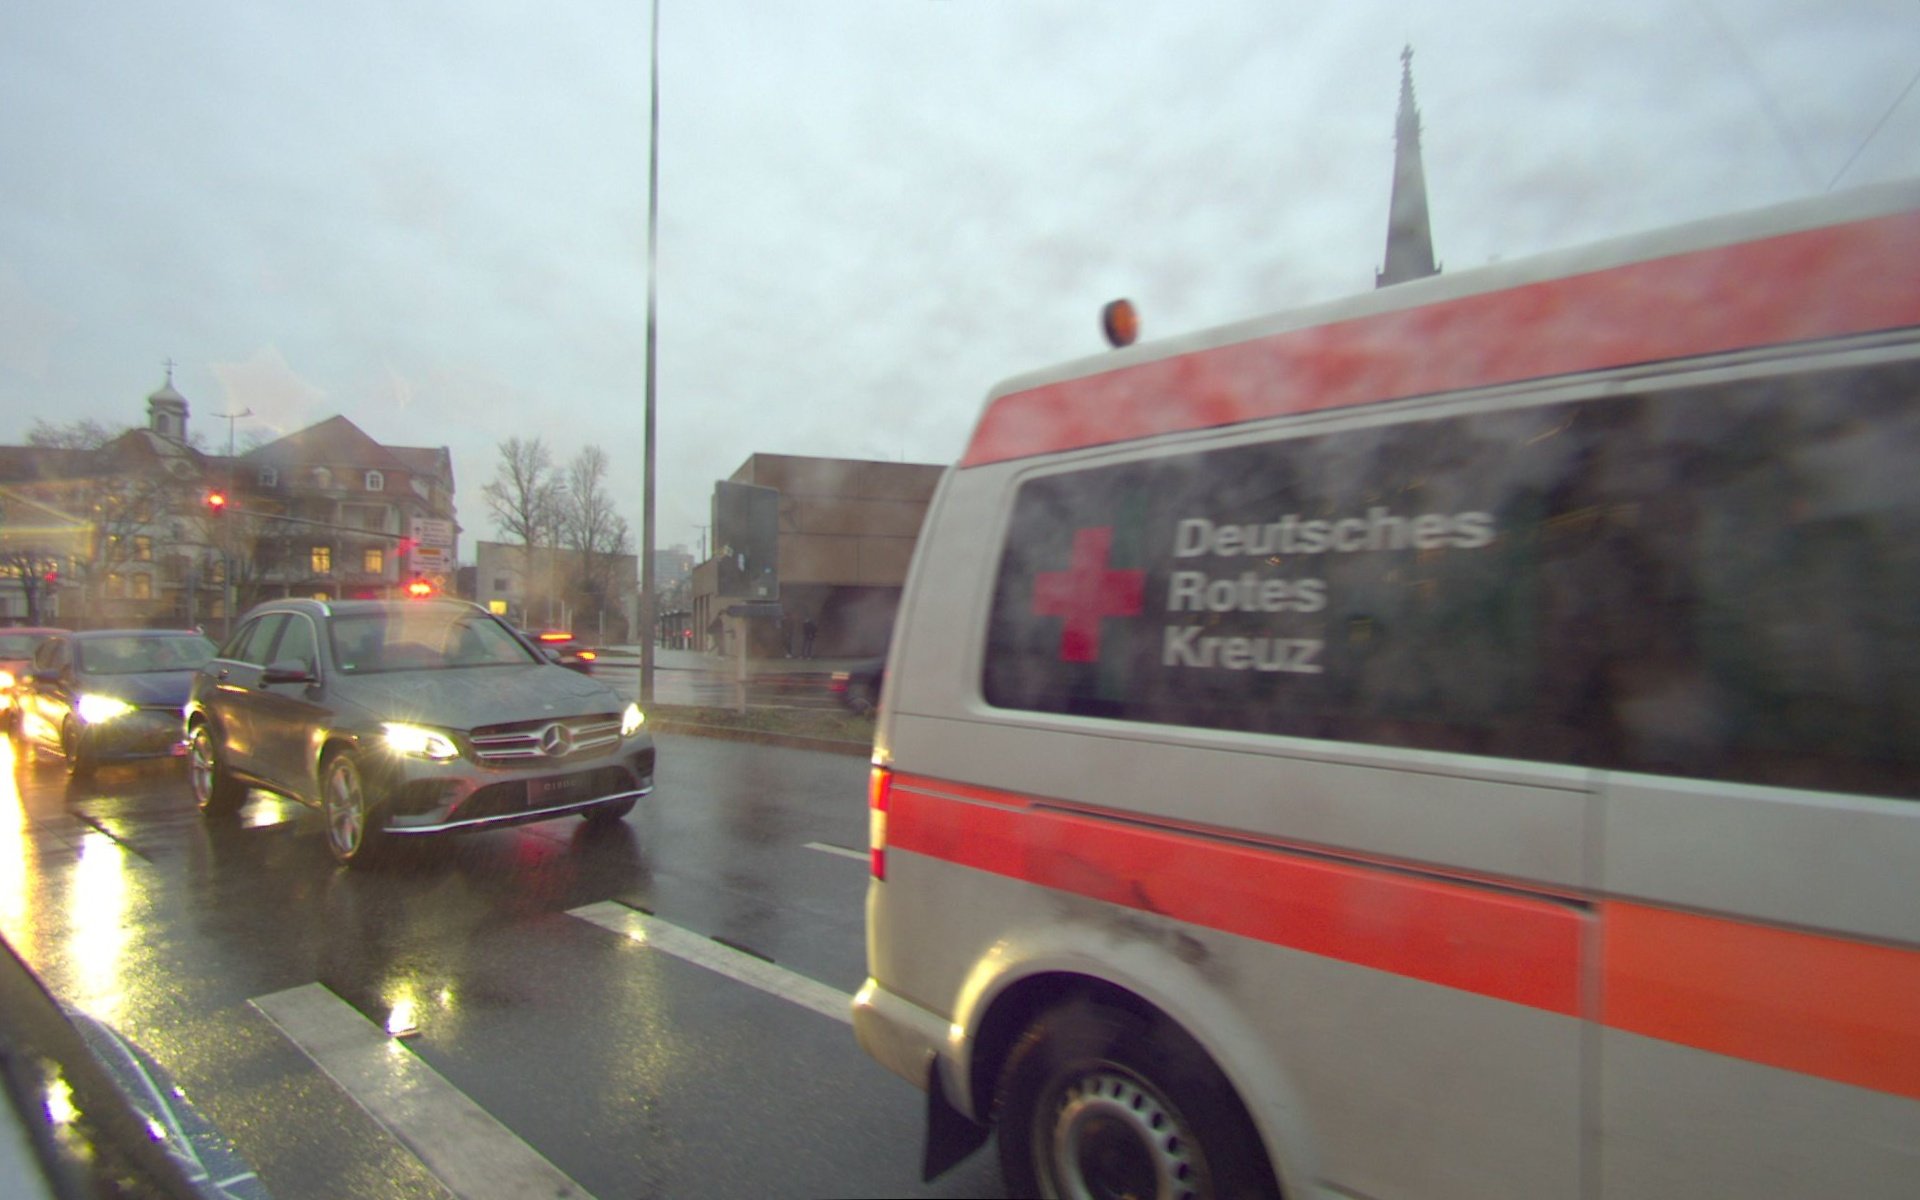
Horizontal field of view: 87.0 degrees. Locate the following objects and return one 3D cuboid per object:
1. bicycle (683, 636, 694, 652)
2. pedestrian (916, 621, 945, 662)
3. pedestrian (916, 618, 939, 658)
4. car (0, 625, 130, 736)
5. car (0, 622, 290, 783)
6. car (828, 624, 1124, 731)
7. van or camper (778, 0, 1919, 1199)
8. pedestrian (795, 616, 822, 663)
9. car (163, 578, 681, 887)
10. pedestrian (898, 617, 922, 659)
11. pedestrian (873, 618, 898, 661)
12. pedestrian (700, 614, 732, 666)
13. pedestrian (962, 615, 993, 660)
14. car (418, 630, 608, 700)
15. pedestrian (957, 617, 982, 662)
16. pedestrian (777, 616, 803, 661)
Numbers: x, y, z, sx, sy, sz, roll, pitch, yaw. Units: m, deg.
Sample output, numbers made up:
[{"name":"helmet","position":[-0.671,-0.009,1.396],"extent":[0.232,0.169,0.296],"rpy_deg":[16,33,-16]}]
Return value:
[{"name":"bicycle","position":[-20.307,3.288,75.599],"extent":[0.636,1.113,2.759],"rpy_deg":[-1,-3,-17]},{"name":"pedestrian","position":[-1.183,1.655,40.351],"extent":[0.841,1.615,0.968],"rpy_deg":[1,-3,-21]},{"name":"pedestrian","position":[-1.415,1.687,44.596],"extent":[0.741,1.739,0.735],"rpy_deg":[-1,-3,31]},{"name":"car","position":[-14.779,1.196,15.910],"extent":[3.863,1.493,1.686],"rpy_deg":[-1,0,35]},{"name":"car","position":[-9.091,0.983,11.066],"extent":[4.112,1.414,1.644],"rpy_deg":[-1,0,36]},{"name":"car","position":[0.145,1.093,15.566],"extent":[4.443,1.383,1.657],"rpy_deg":[-1,0,38]},{"name":"van or camper","position":[2.098,0.319,1.725],"extent":[4.987,2.125,2.178],"rpy_deg":[-1,-1,43]},{"name":"pedestrian","position":[-5.846,1.522,39.116],"extent":[0.828,1.781,0.657],"rpy_deg":[-1,-3,23]},{"name":"car","position":[-4.143,0.734,7.420],"extent":[4.537,1.613,1.767],"rpy_deg":[-1,-1,40]},{"name":"pedestrian","position":[-2.080,1.596,42.276],"extent":[0.740,1.739,0.736],"rpy_deg":[-1,-3,27]},{"name":"pedestrian","position":[-3.062,1.611,41.590],"extent":[0.731,1.739,0.745],"rpy_deg":[3,-3,-42]},{"name":"pedestrian","position":[-9.170,1.503,37.991],"extent":[1.017,1.872,1.238],"rpy_deg":[-1,-3,-18]},{"name":"pedestrian","position":[0.764,1.650,44.581],"extent":[1.105,1.933,1.065],"rpy_deg":[1,-3,-14]},{"name":"car","position":[-10.326,1.413,23.249],"extent":[4.811,1.430,1.790],"rpy_deg":[-1,-1,35]},{"name":"pedestrian","position":[0.387,1.584,40.205],"extent":[0.757,1.764,0.795],"rpy_deg":[-1,-3,22]},{"name":"pedestrian","position":[-6.759,1.528,40.165],"extent":[0.731,1.739,0.745],"rpy_deg":[3,-3,-42]}]
